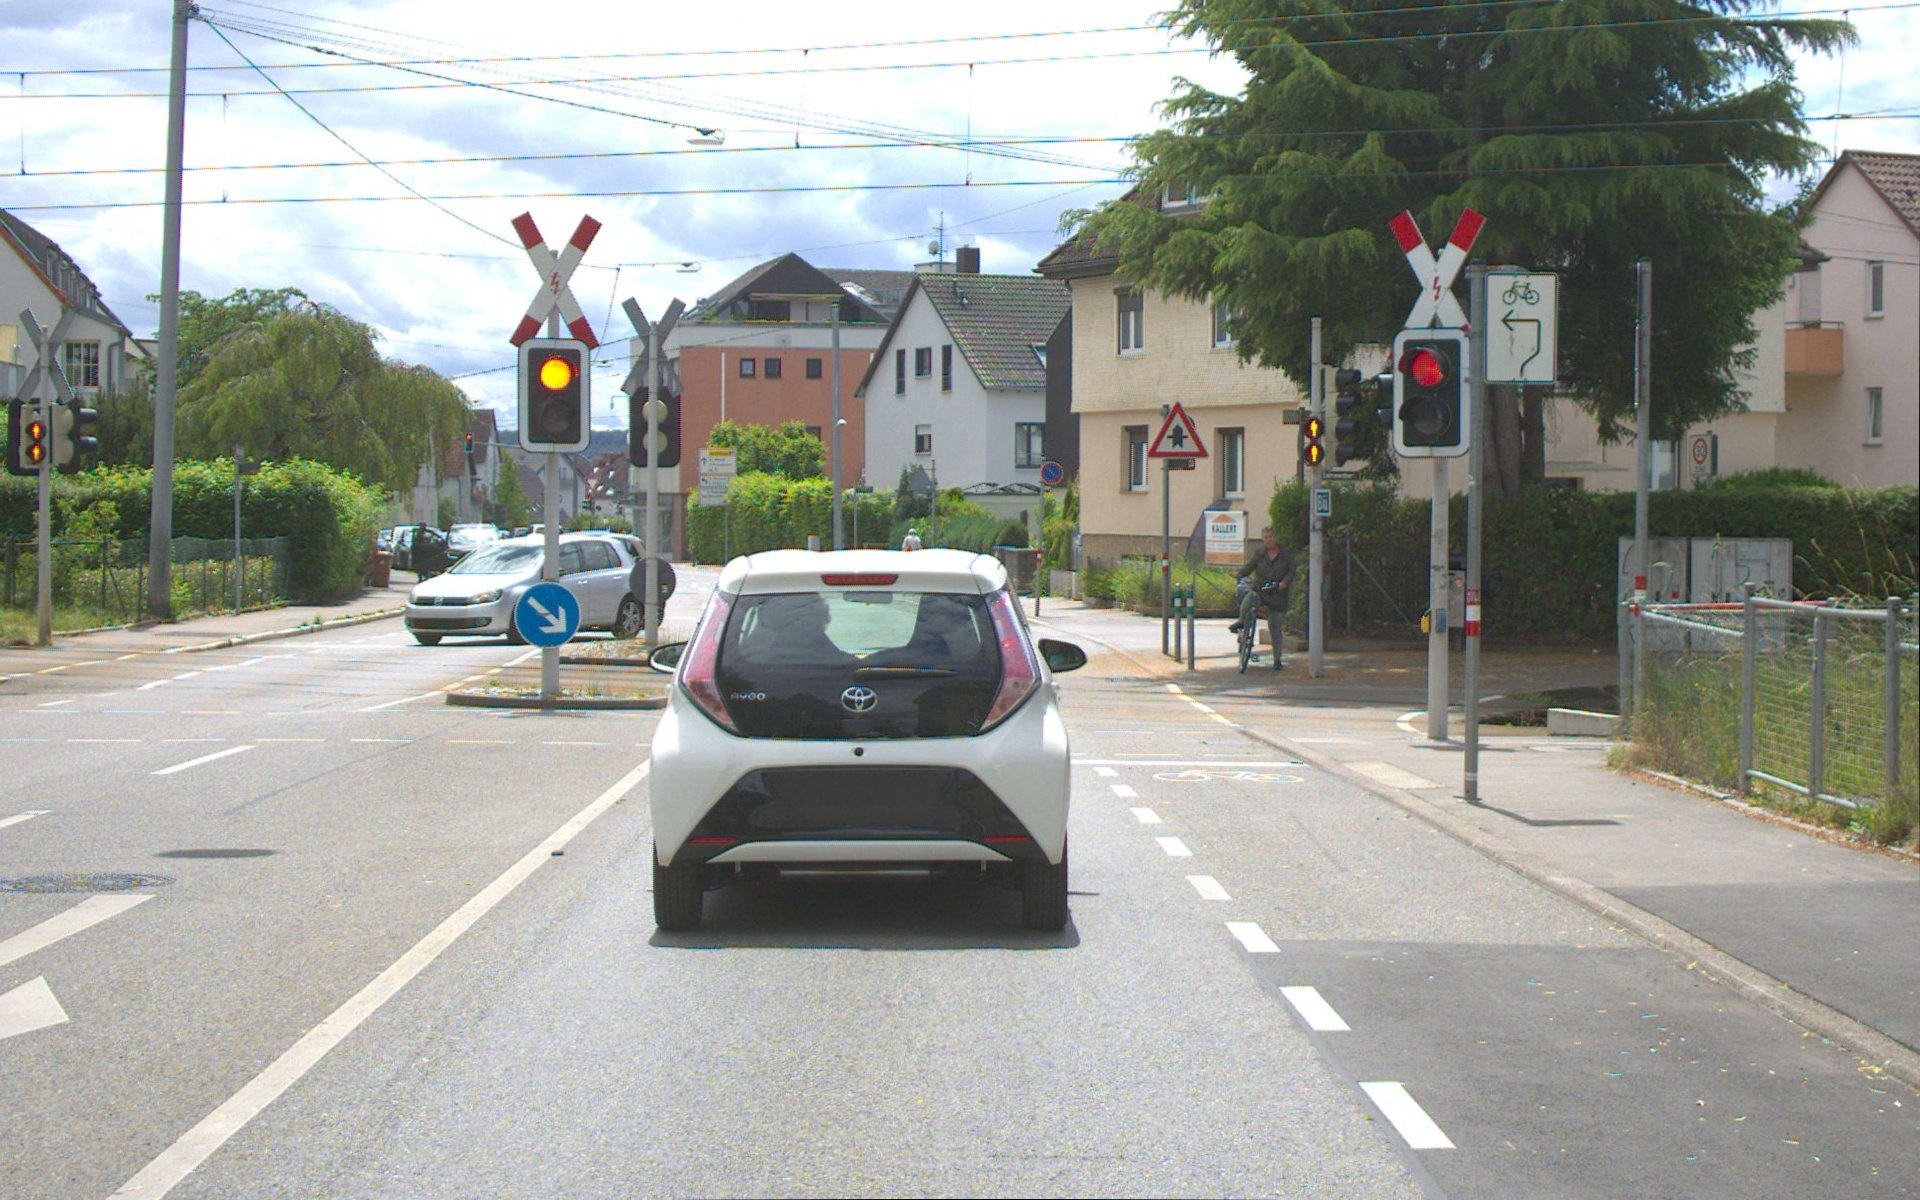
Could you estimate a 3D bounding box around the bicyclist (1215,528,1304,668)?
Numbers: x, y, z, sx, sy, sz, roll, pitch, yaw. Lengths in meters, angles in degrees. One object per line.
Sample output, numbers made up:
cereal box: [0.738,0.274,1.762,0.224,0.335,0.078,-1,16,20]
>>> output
bicyclist: [3.462,-0.032,39.750,0.840,1.548,0.756,-2,3,-6]

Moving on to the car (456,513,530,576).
car: [-13.413,-1.607,98.877,1.993,1.713,4.001,1,1,-7]

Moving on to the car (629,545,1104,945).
car: [-0.475,0.511,14.562,1.721,1.437,3.709,1,1,-4]

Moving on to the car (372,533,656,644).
car: [-6.175,-0.166,48.007,1.908,1.436,4.092,2,1,28]

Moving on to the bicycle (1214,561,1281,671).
bicycle: [3.315,0.174,39.680,0.457,1.168,1.480,-2,4,-6]
